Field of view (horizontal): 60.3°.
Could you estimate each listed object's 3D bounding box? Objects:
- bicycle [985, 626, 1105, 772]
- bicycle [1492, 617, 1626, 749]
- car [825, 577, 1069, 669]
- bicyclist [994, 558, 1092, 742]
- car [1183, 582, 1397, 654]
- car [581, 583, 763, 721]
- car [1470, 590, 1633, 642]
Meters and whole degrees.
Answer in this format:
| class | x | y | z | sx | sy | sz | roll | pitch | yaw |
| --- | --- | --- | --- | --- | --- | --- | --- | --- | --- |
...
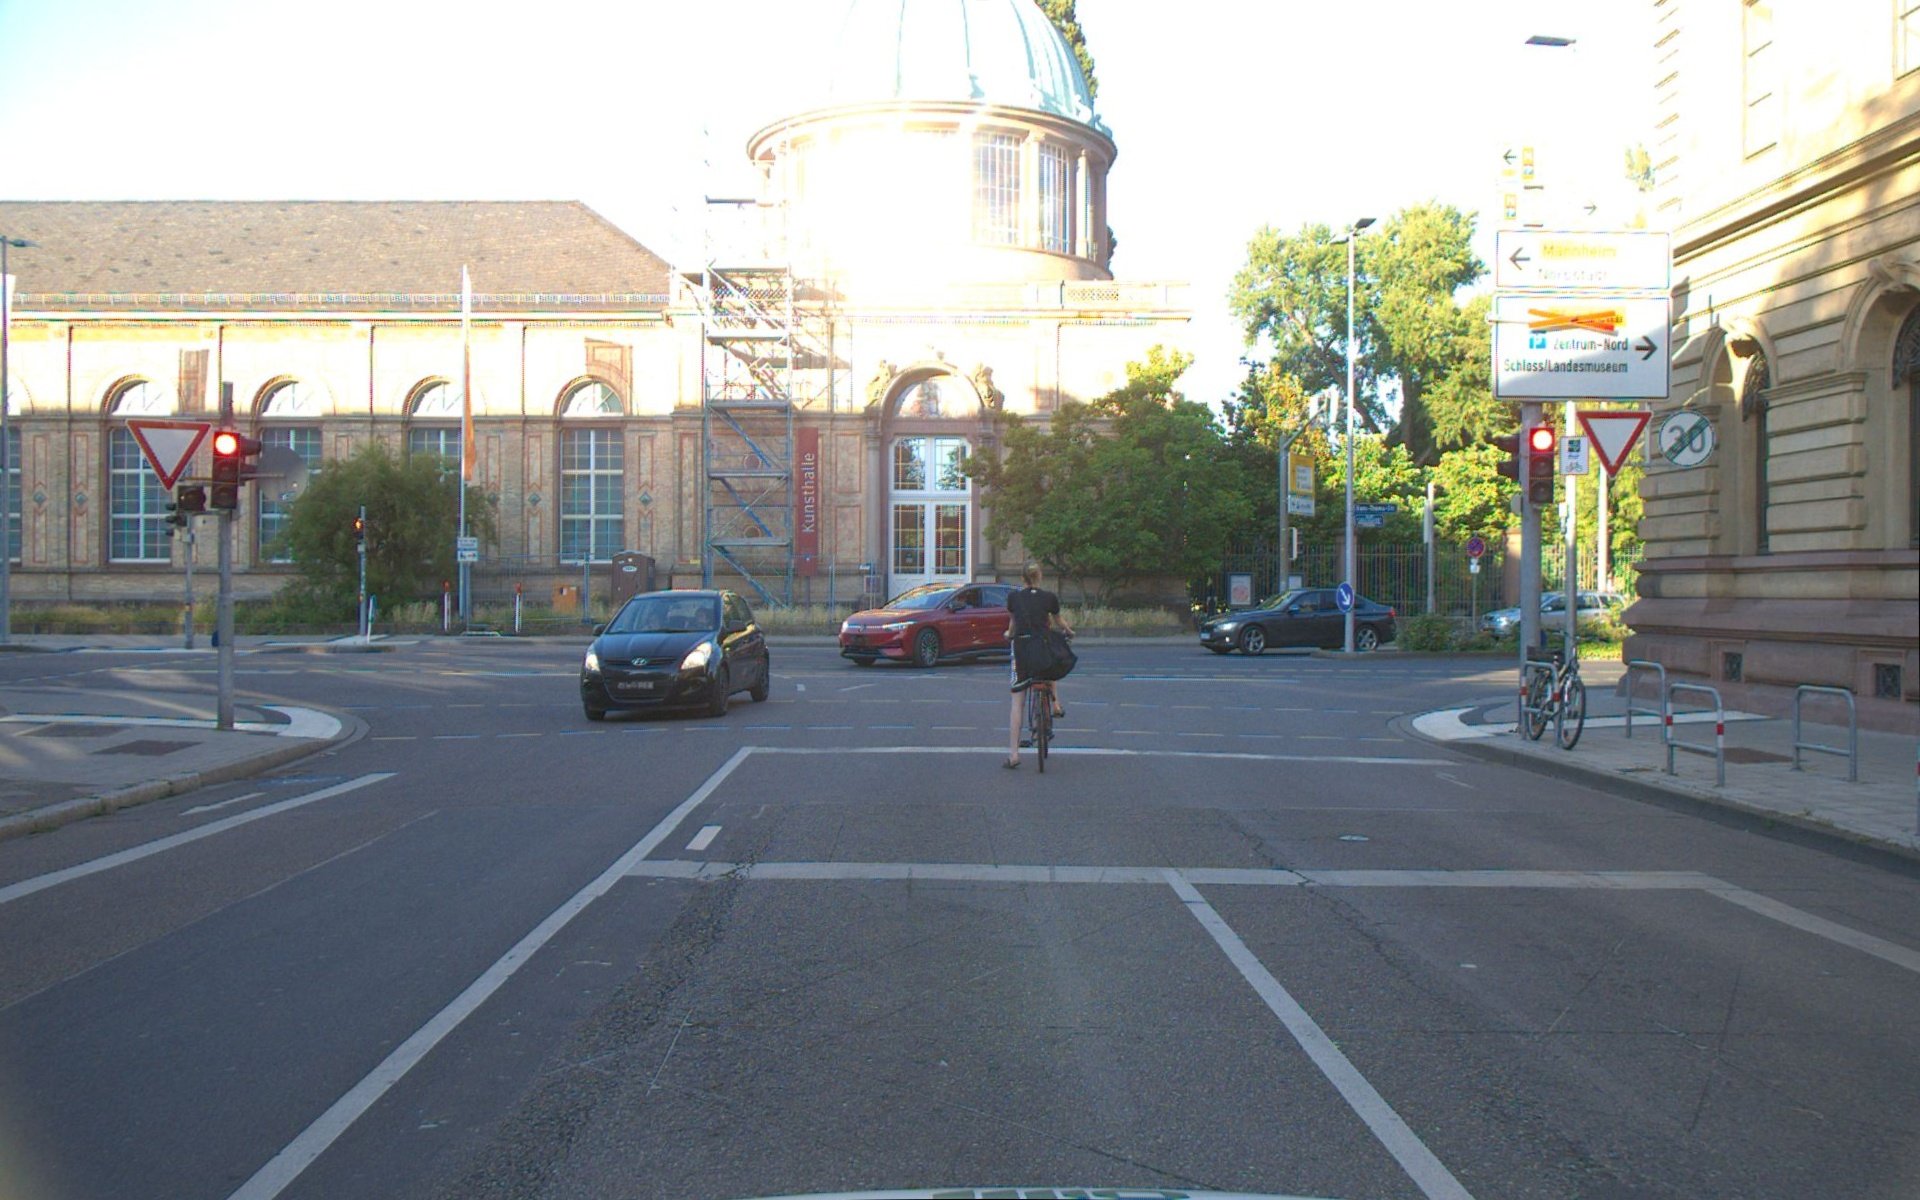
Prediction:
| class | x | y | z | sx | sy | sz | roll | pitch | yaw |
| --- | --- | --- | --- | --- | --- | --- | --- | --- | --- |
| bicycle | 0.780 | 0.821 | 14.468 | 0.696 | 1.176 | 2.070 | 0 | -1 | 13 |
| bicycle | 5.768 | 0.775 | 16.031 | 0.570 | 1.209 | 1.919 | 0 | -1 | -1 |
| car | -0.180 | 0.383 | 31.881 | 4.811 | 1.572 | 1.807 | -2 | 1 | -45 |
| bicyclist | 0.722 | 0.423 | 14.235 | 0.701 | 1.529 | 0.851 | 0 | -1 | 13 |
| car | 7.334 | 0.382 | 36.848 | 4.336 | 1.484 | 1.780 | -1 | 0 | -16 |
| car | -3.508 | 0.577 | 20.791 | 1.624 | 1.497 | 3.854 | -1 | 1 | -1 |
| car | 17.053 | 0.451 | 47.762 | 4.104 | 1.470 | 1.713 | 0 | 0 | -6 |
